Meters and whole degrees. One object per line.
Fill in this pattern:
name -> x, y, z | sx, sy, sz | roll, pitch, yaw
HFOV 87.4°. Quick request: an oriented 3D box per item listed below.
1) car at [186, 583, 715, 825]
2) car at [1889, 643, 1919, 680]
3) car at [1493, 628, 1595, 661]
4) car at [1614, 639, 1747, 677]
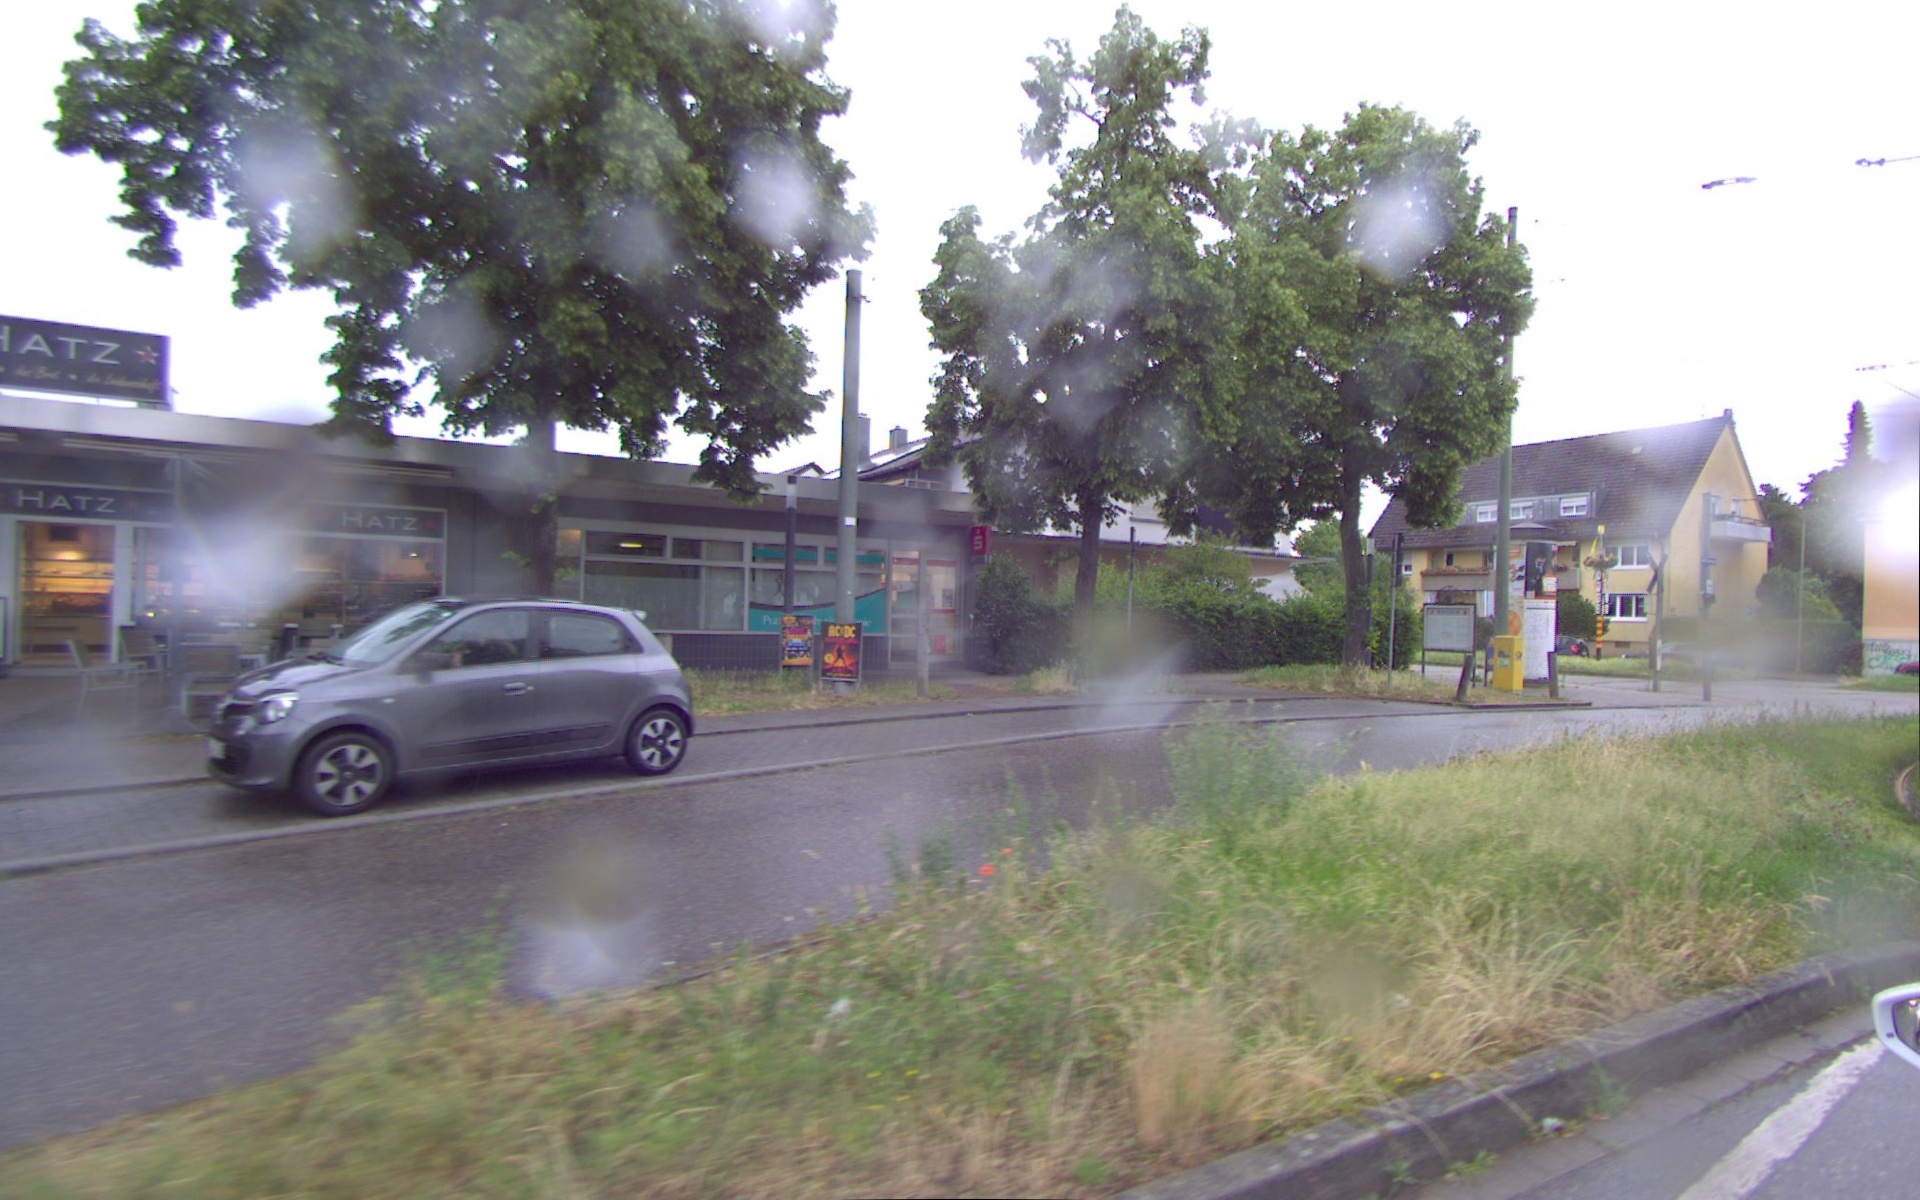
car -> -4.034, 0.705, 8.371 | 1.529, 1.523, 3.603 | 3, 1, 42
car -> 37.535, 2.424, 37.711 | 1.705, 1.357, 3.582 | 2, 1, -34
car -> 28.722, 2.176, 49.540 | 1.742, 1.350, 3.961 | 2, 1, -34
car -> 32.248, 2.562, 45.069 | 1.946, 1.414, 4.464 | 2, -1, -33
